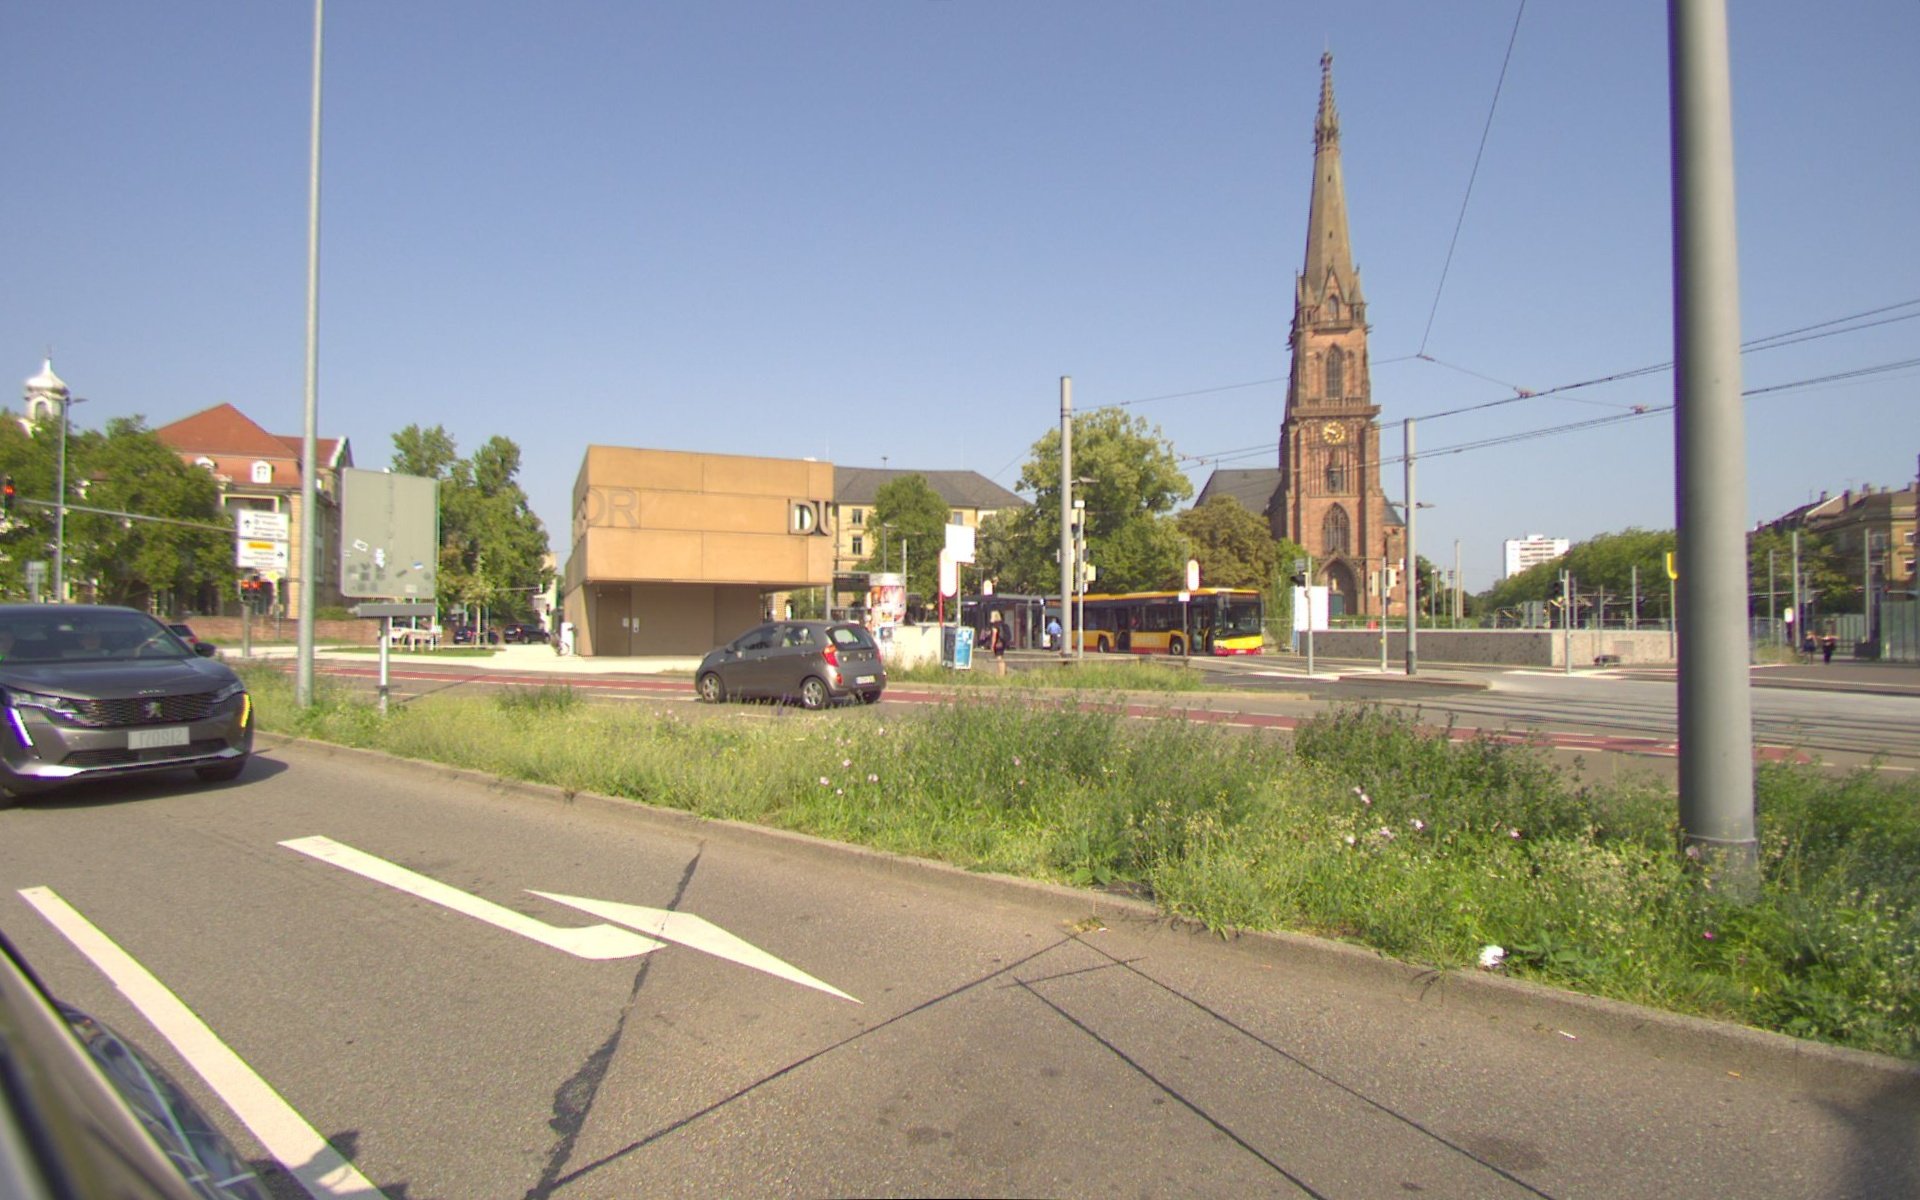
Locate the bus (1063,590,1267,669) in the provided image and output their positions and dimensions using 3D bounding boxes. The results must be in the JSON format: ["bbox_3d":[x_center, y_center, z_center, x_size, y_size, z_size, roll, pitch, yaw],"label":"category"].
[{"bbox_3d":[8.875,1.376,46.439,2.669,3.132,12.254,1,-2,-23],"label":"bus"}]

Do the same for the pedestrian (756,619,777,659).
[{"bbox_3d":[-8.769,1.766,45.857,0.707,1.751,0.859,1,-2,-25],"label":"pedestrian"}]

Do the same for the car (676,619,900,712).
[{"bbox_3d":[-3.065,1.093,17.866,3.666,1.463,1.872,-1,-2,35],"label":"car"}]

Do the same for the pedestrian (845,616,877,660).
[{"bbox_3d":[-3.846,1.476,39.355,0.861,1.685,0.981,-1,-2,26],"label":"pedestrian"}]

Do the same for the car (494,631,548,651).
[{"bbox_3d":[-36.120,3.371,83.352,1.979,1.646,4.356,-1,-2,11],"label":"car"}]

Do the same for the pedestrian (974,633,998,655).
[{"bbox_3d":[1.362,2.288,52.581,1.013,1.142,0.740,1,-2,-31],"label":"pedestrian"}]

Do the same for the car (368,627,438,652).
[{"bbox_3d":[-38.478,2.724,70.020,1.977,1.646,4.360,0,-2,9],"label":"car"}]

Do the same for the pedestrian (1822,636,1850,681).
[{"bbox_3d":[35.623,2.376,41.152,0.751,1.796,0.699,-2,-3,36],"label":"pedestrian"}]

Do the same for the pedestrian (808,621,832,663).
[{"bbox_3d":[-5.499,1.644,39.811,0.707,1.642,0.859,1,-2,-25],"label":"pedestrian"}]

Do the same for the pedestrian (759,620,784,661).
[{"bbox_3d":[-7.974,1.712,42.692,0.851,1.718,0.734,1,-2,-27],"label":"pedestrian"}]

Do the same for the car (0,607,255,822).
[{"bbox_3d":[-8.202,0.862,8.909,4.357,1.503,1.670,-1,-2,32],"label":"car"}]

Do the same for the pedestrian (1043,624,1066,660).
[{"bbox_3d":[4.695,2.095,50.344,0.816,1.752,0.838,1,-2,-25],"label":"pedestrian"}]

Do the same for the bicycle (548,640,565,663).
[{"bbox_3d":[-15.975,2.029,40.023,0.582,0.844,1.552,-2,-1,-22],"label":"bicycle"}]

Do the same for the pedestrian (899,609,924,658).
[{"bbox_3d":[-1.792,1.237,37.484,0.689,1.814,0.782,1,-2,-26],"label":"pedestrian"}]

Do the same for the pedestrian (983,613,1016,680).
[{"bbox_3d":[1.087,1.286,27.920,0.689,1.814,0.782,1,-2,-15],"label":"pedestrian"}]

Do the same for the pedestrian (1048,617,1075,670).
[{"bbox_3d":[3.565,1.527,35.516,0.698,1.814,0.772,-1,-2,31],"label":"pedestrian"}]

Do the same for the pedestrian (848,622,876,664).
[{"bbox_3d":[-3.710,1.620,38.212,0.851,1.571,0.993,1,-2,-17],"label":"pedestrian"}]

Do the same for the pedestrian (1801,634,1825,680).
[{"bbox_3d":[35.014,2.322,41.563,0.651,1.880,0.713,-2,-3,36],"label":"pedestrian"}]

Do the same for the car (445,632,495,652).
[{"bbox_3d":[-37.365,3.198,77.252,1.607,1.509,3.839,0,-2,9],"label":"car"}]

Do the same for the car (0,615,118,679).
[{"bbox_3d":[-24.928,1.246,27.398,4.440,1.630,1.683,-1,-2,28],"label":"car"}]

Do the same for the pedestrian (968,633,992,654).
[{"bbox_3d":[1.058,2.291,53.399,1.013,1.142,0.740,1,-2,-31],"label":"pedestrian"}]

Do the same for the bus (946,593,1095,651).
[{"bbox_3d":[3.148,1.334,59.139,3.242,3.000,12.838,1,-2,-23],"label":"bus"}]

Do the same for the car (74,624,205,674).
[{"bbox_3d":[-25.292,1.476,31.172,4.210,1.444,1.800,-1,-2,31],"label":"car"}]
